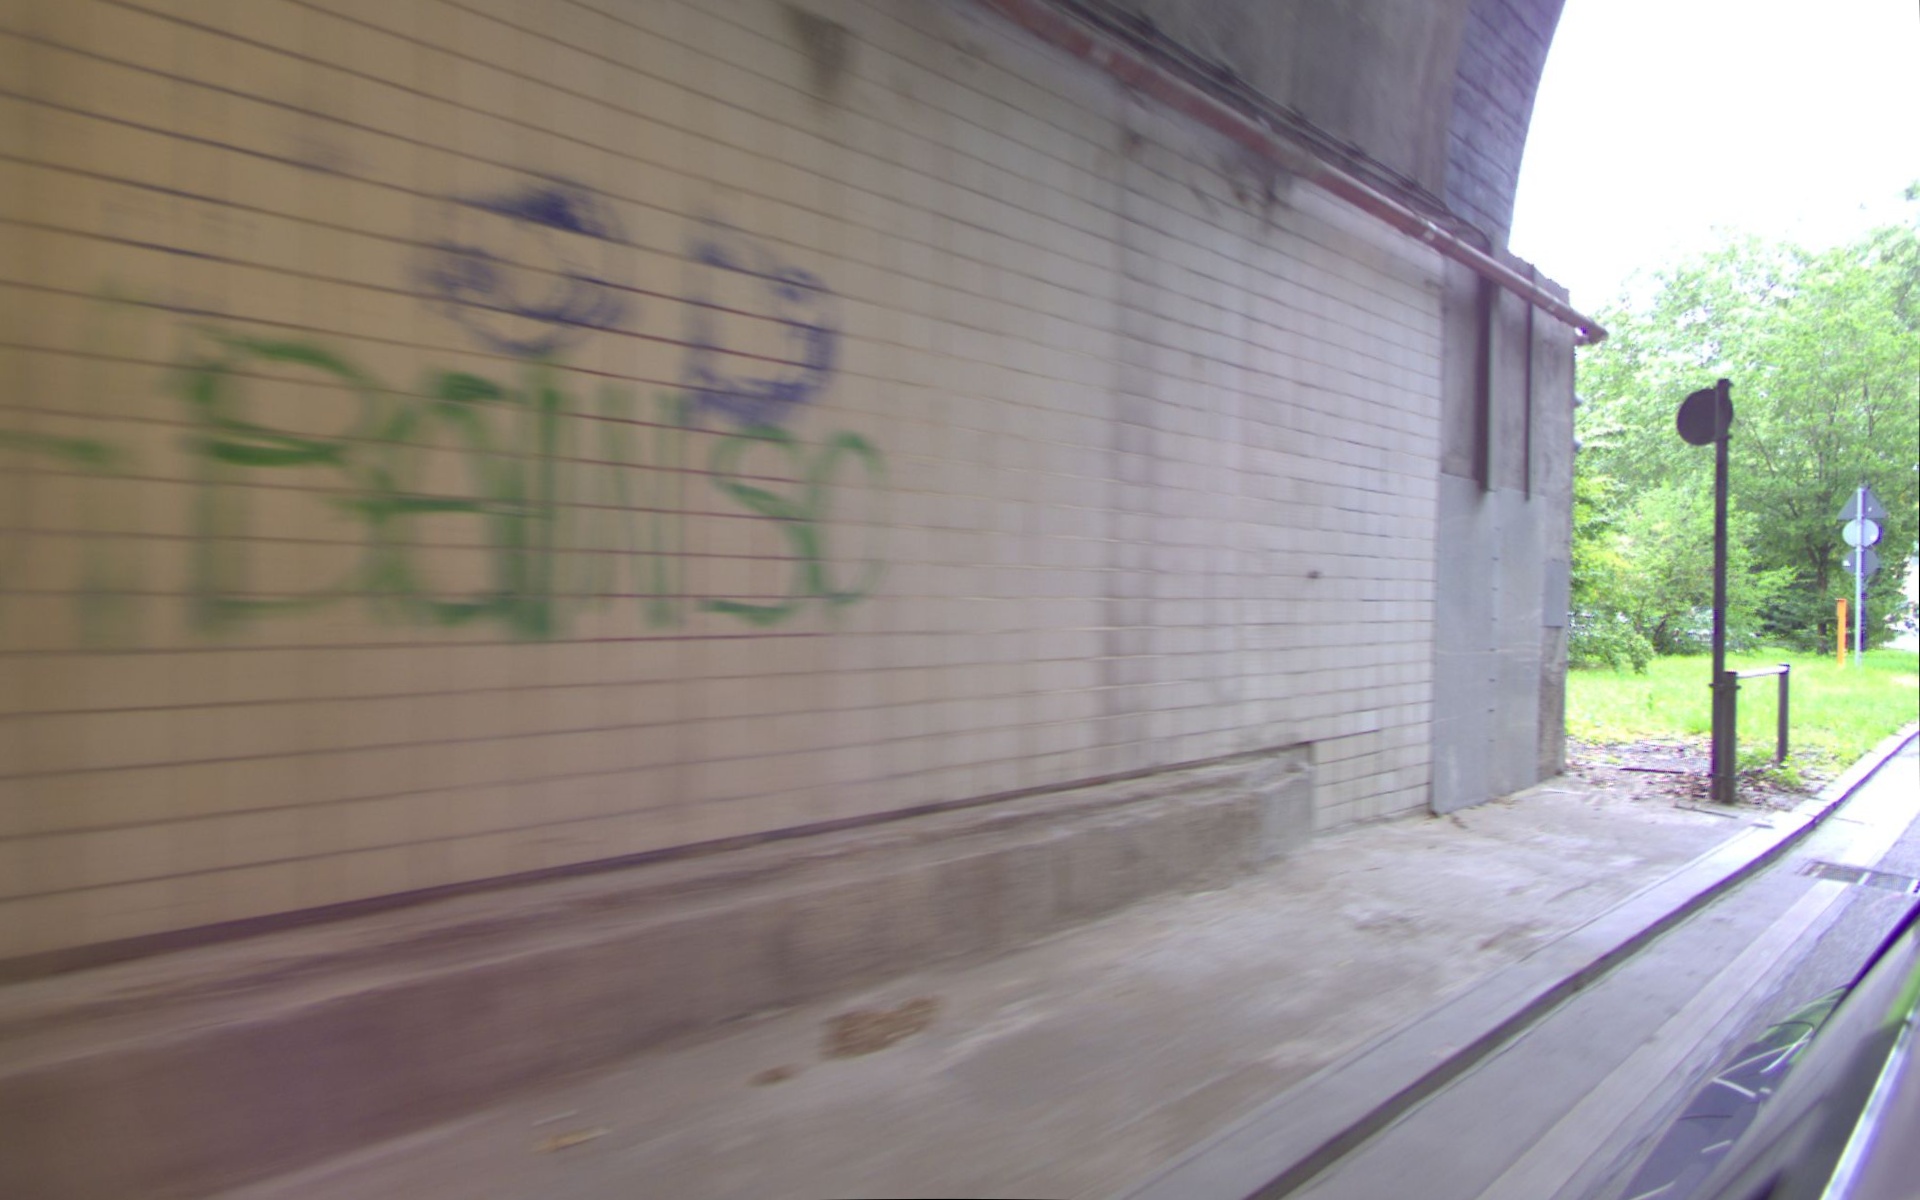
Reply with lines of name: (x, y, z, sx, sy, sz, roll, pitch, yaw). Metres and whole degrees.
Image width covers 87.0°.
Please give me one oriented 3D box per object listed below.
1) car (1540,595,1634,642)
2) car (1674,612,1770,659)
car: (21.616, 0.600, 34.815, 3.832, 1.460, 1.746, 1, 2, -42)
car: (26.757, 1.236, 35.482, 4.976, 1.460, 1.788, 2, 1, -43)
